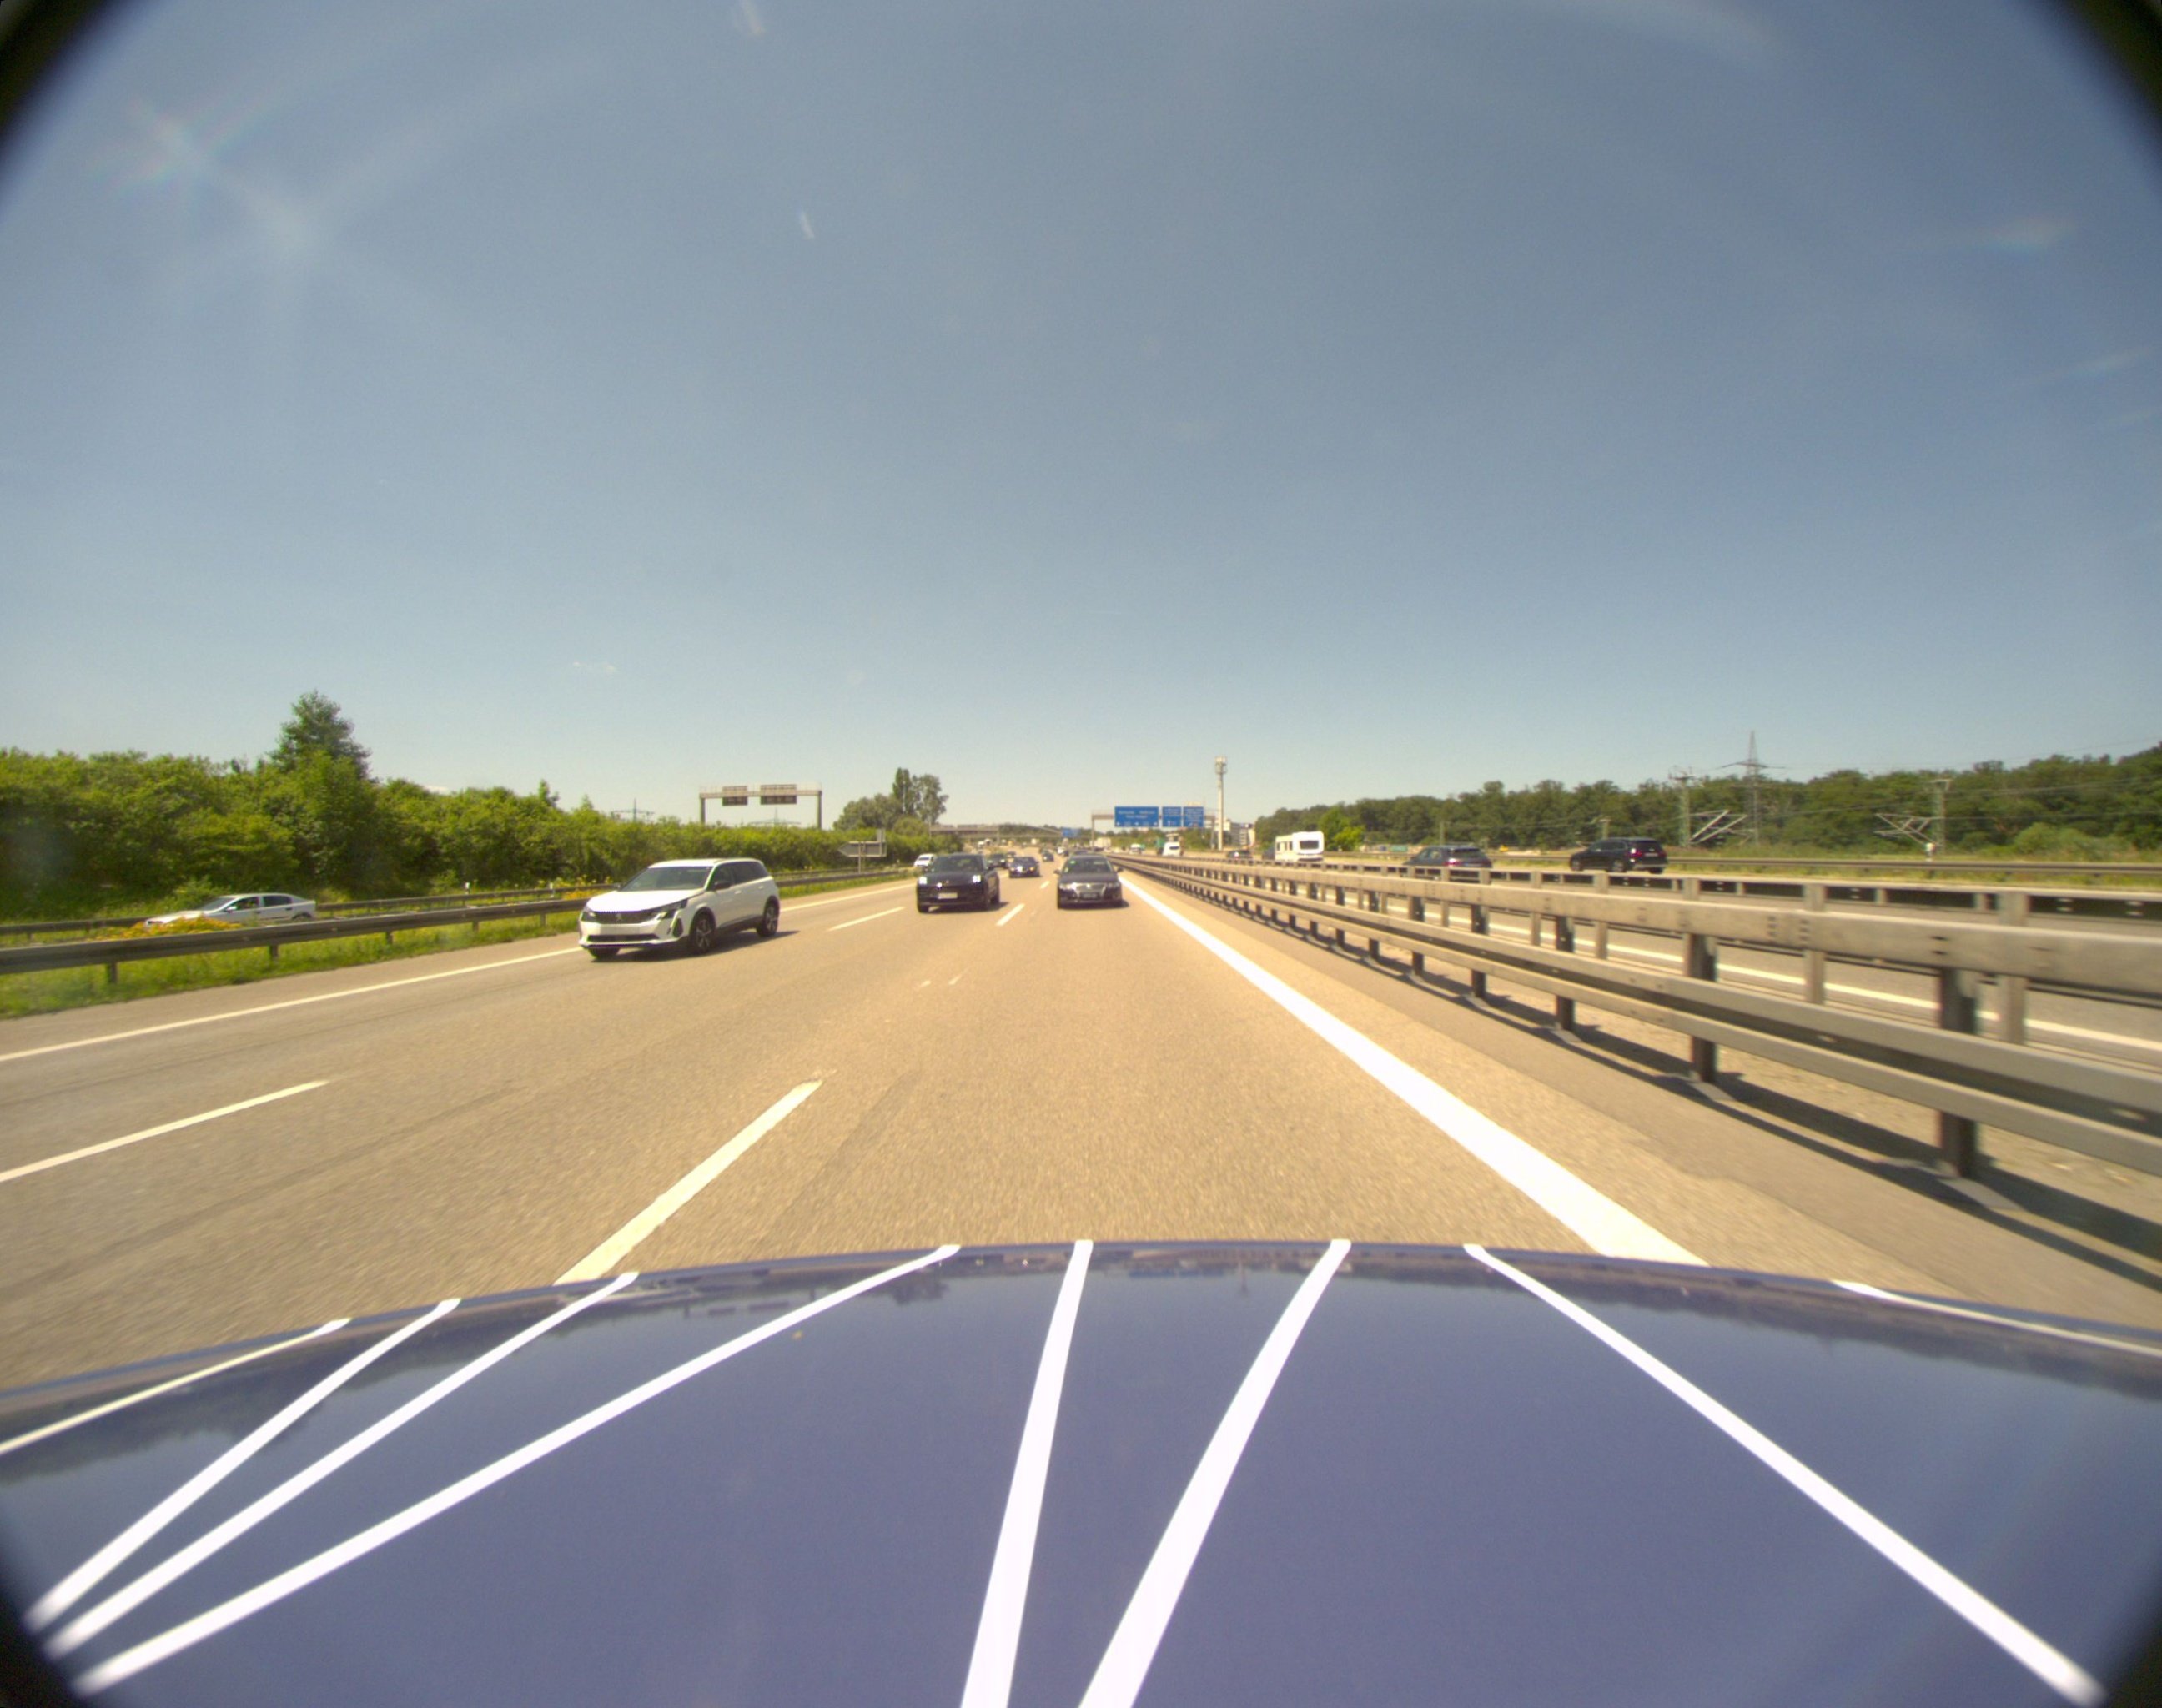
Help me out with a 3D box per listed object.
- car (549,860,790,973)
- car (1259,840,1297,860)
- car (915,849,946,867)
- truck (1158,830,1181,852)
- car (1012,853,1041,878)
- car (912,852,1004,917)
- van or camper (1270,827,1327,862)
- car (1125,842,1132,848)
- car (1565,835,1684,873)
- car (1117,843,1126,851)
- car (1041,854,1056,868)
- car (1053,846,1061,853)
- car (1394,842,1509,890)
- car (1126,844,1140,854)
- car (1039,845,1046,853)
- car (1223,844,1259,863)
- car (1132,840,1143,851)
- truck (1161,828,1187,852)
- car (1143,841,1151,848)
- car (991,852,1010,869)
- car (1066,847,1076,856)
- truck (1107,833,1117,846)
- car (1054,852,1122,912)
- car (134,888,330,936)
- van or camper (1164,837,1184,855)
[{"bbox_3d":[-7.264,0.987,14.090,1.898,1.620,4.616,-2,1,0],"label":"car"},{"bbox_3d":[17.466,-0.341,67.712,2.071,1.649,4.992,-2,1,0],"label":"car"},{"bbox_3d":[-17.710,0.458,89.828,1.997,2.002,4.766,-1,1,10],"label":"car"},{"bbox_3d":[16.375,-2.447,141.492,3.426,3.901,8.581,-2,1,1],"label":"truck"},{"bbox_3d":[-3.565,0.704,50.222,1.752,1.462,3.998,-2,1,-2],"label":"car"},{"bbox_3d":[-3.492,0.814,22.443,1.983,1.620,4.616,-2,1,-1],"label":"car"},{"bbox_3d":[17.429,-0.753,61.403,2.343,2.641,7.603,-1,1,0],"label":"van or camper"},{"bbox_3d":[14.586,-2.778,234.110,1.998,2.002,3.999,-2,1,1],"label":"car"},{"bbox_3d":[24.526,-0.027,34.582,1.998,1.588,4.934,-1,1,2],"label":"car"},{"bbox_3d":[9.672,-1.648,182.992,1.998,2.002,3.999,-2,1,0],"label":"car"},{"bbox_3d":[-4.937,0.991,115.361,1.998,2.002,3.999,-2,1,0],"label":"car"},{"bbox_3d":[-6.855,-1.265,220.363,1.998,2.002,3.999,-2,1,1],"label":"car"},{"bbox_3d":[13.488,0.375,28.037,1.999,1.565,4.549,-1,1,0],"label":"car"},{"bbox_3d":[8.090,-0.790,118.442,1.785,1.457,3.999,-2,1,-2],"label":"car"},{"bbox_3d":[-11.615,-1.523,228.982,1.998,2.002,3.999,-2,1,1],"label":"car"},{"bbox_3d":[13.793,-0.047,65.799,1.998,1.500,4.888,-2,1,0],"label":"car"},{"bbox_3d":[11.140,-1.675,150.223,1.785,2.169,3.999,-2,1,0],"label":"car"},{"bbox_3d":[16.233,-2.393,133.545,3.394,3.960,12.240,-2,1,1],"label":"truck"},{"bbox_3d":[19.109,-2.792,220.507,1.998,2.002,3.999,-2,1,0],"label":"car"},{"bbox_3d":[-8.070,0.629,76.334,1.752,1.462,3.998,-2,1,-4],"label":"car"},{"bbox_3d":[-2.062,-0.568,158.688,1.998,1.691,3.999,-2,1,0],"label":"car"},{"bbox_3d":[9.879,-4.598,243.485,2.724,4.282,8.786,-2,1,0],"label":"truck"},{"bbox_3d":[0.185,0.744,22.186,1.752,1.462,3.999,-2,1,0],"label":"car"},{"bbox_3d":[-29.325,1.955,26.451,1.896,1.272,4.081,-2,1,13],"label":"car"},{"bbox_3d":[12.920,-1.087,105.726,1.999,2.327,5.076,-2,1,-2],"label":"van or camper"}]
